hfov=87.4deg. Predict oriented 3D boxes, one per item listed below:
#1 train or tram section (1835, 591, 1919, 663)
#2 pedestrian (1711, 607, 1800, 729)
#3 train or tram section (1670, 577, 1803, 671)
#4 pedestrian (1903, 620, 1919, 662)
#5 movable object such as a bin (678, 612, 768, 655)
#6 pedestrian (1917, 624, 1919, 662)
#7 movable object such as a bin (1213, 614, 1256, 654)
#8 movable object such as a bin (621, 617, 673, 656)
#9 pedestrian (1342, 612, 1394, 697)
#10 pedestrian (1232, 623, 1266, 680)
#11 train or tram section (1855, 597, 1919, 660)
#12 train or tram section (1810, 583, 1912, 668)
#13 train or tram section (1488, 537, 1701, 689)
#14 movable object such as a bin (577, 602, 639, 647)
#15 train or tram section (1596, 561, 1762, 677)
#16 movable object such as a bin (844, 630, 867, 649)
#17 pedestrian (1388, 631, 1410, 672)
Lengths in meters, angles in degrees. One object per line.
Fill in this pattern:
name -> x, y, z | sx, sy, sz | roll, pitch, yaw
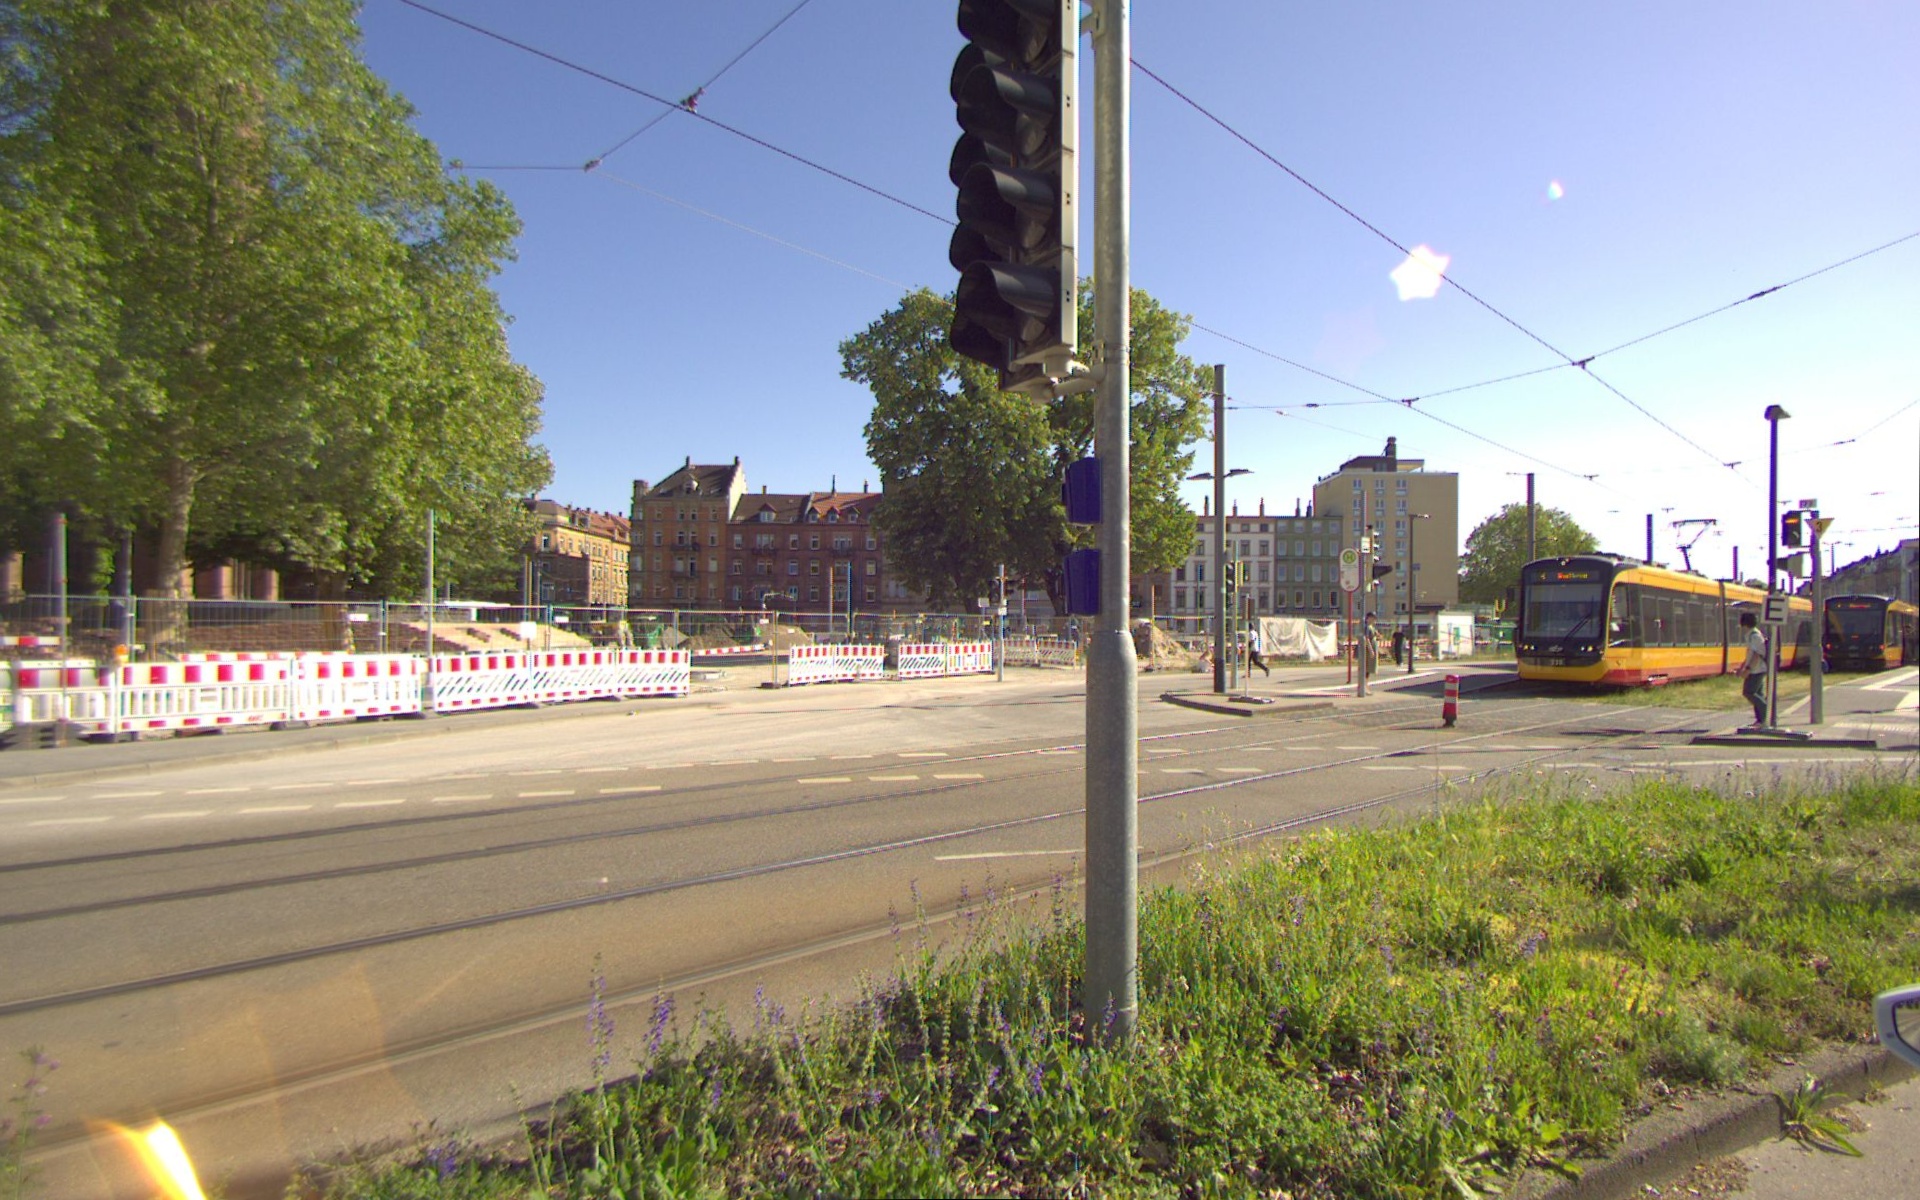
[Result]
train or tram section -> 49.768, 1.493, 54.317 | 10.472, 3.554, 2.843 | 2, -2, -44
pedestrian -> 12.713, 1.058, 16.063 | 0.756, 1.856, 1.006 | 3, -1, -45
train or tram section -> 33.314, 1.040, 42.835 | 11.132, 3.554, 2.790 | 2, -1, -43
pedestrian -> 43.901, 1.888, 46.092 | 0.756, 1.908, 0.838 | 3, -1, -45
movable object such as a bin -> -16.972, 2.404, 72.198 | 5.968, 2.795, 1.894 | 2, -1, -3
pedestrian -> 48.603, 2.168, 50.462 | 0.697, 1.881, 0.668 | 3, -1, -38
movable object such as a bin -> 20.649, 2.521, 75.701 | 1.798, 2.833, 3.997 | 2, -1, -5
movable object such as a bin -> -20.072, 2.329, 64.546 | 1.857, 2.377, 4.230 | 2, -1, 0
pedestrian -> 9.318, 1.222, 22.943 | 0.888, 1.875, 0.760 | -1, 1, 39
pedestrian -> 9.209, 1.621, 31.983 | 0.954, 1.791, 0.865 | 0, -2, 22
train or tram section -> 57.273, 1.743, 61.593 | 10.472, 3.554, 2.843 | 2, -1, -44
train or tram section -> 42.336, 1.229, 47.050 | 10.472, 3.554, 2.843 | 2, -2, -44
train or tram section -> 18.062, 0.464, 28.155 | 10.411, 3.554, 2.789 | 2, -2, -45
movable object such as a bin -> -26.449, 1.842, 75.709 | 3.060, 3.214, 5.244 | 2, -1, -5
train or tram section -> 25.557, 0.710, 35.417 | 10.537, 3.554, 2.790 | 2, -1, -43
movable object such as a bin -> -10.040, 3.792, 96.848 | 1.716, 1.702, 3.802 | 0, -1, 2
pedestrian -> 19.843, 2.316, 45.392 | 0.795, 1.791, 0.661 | 2, -2, -45
